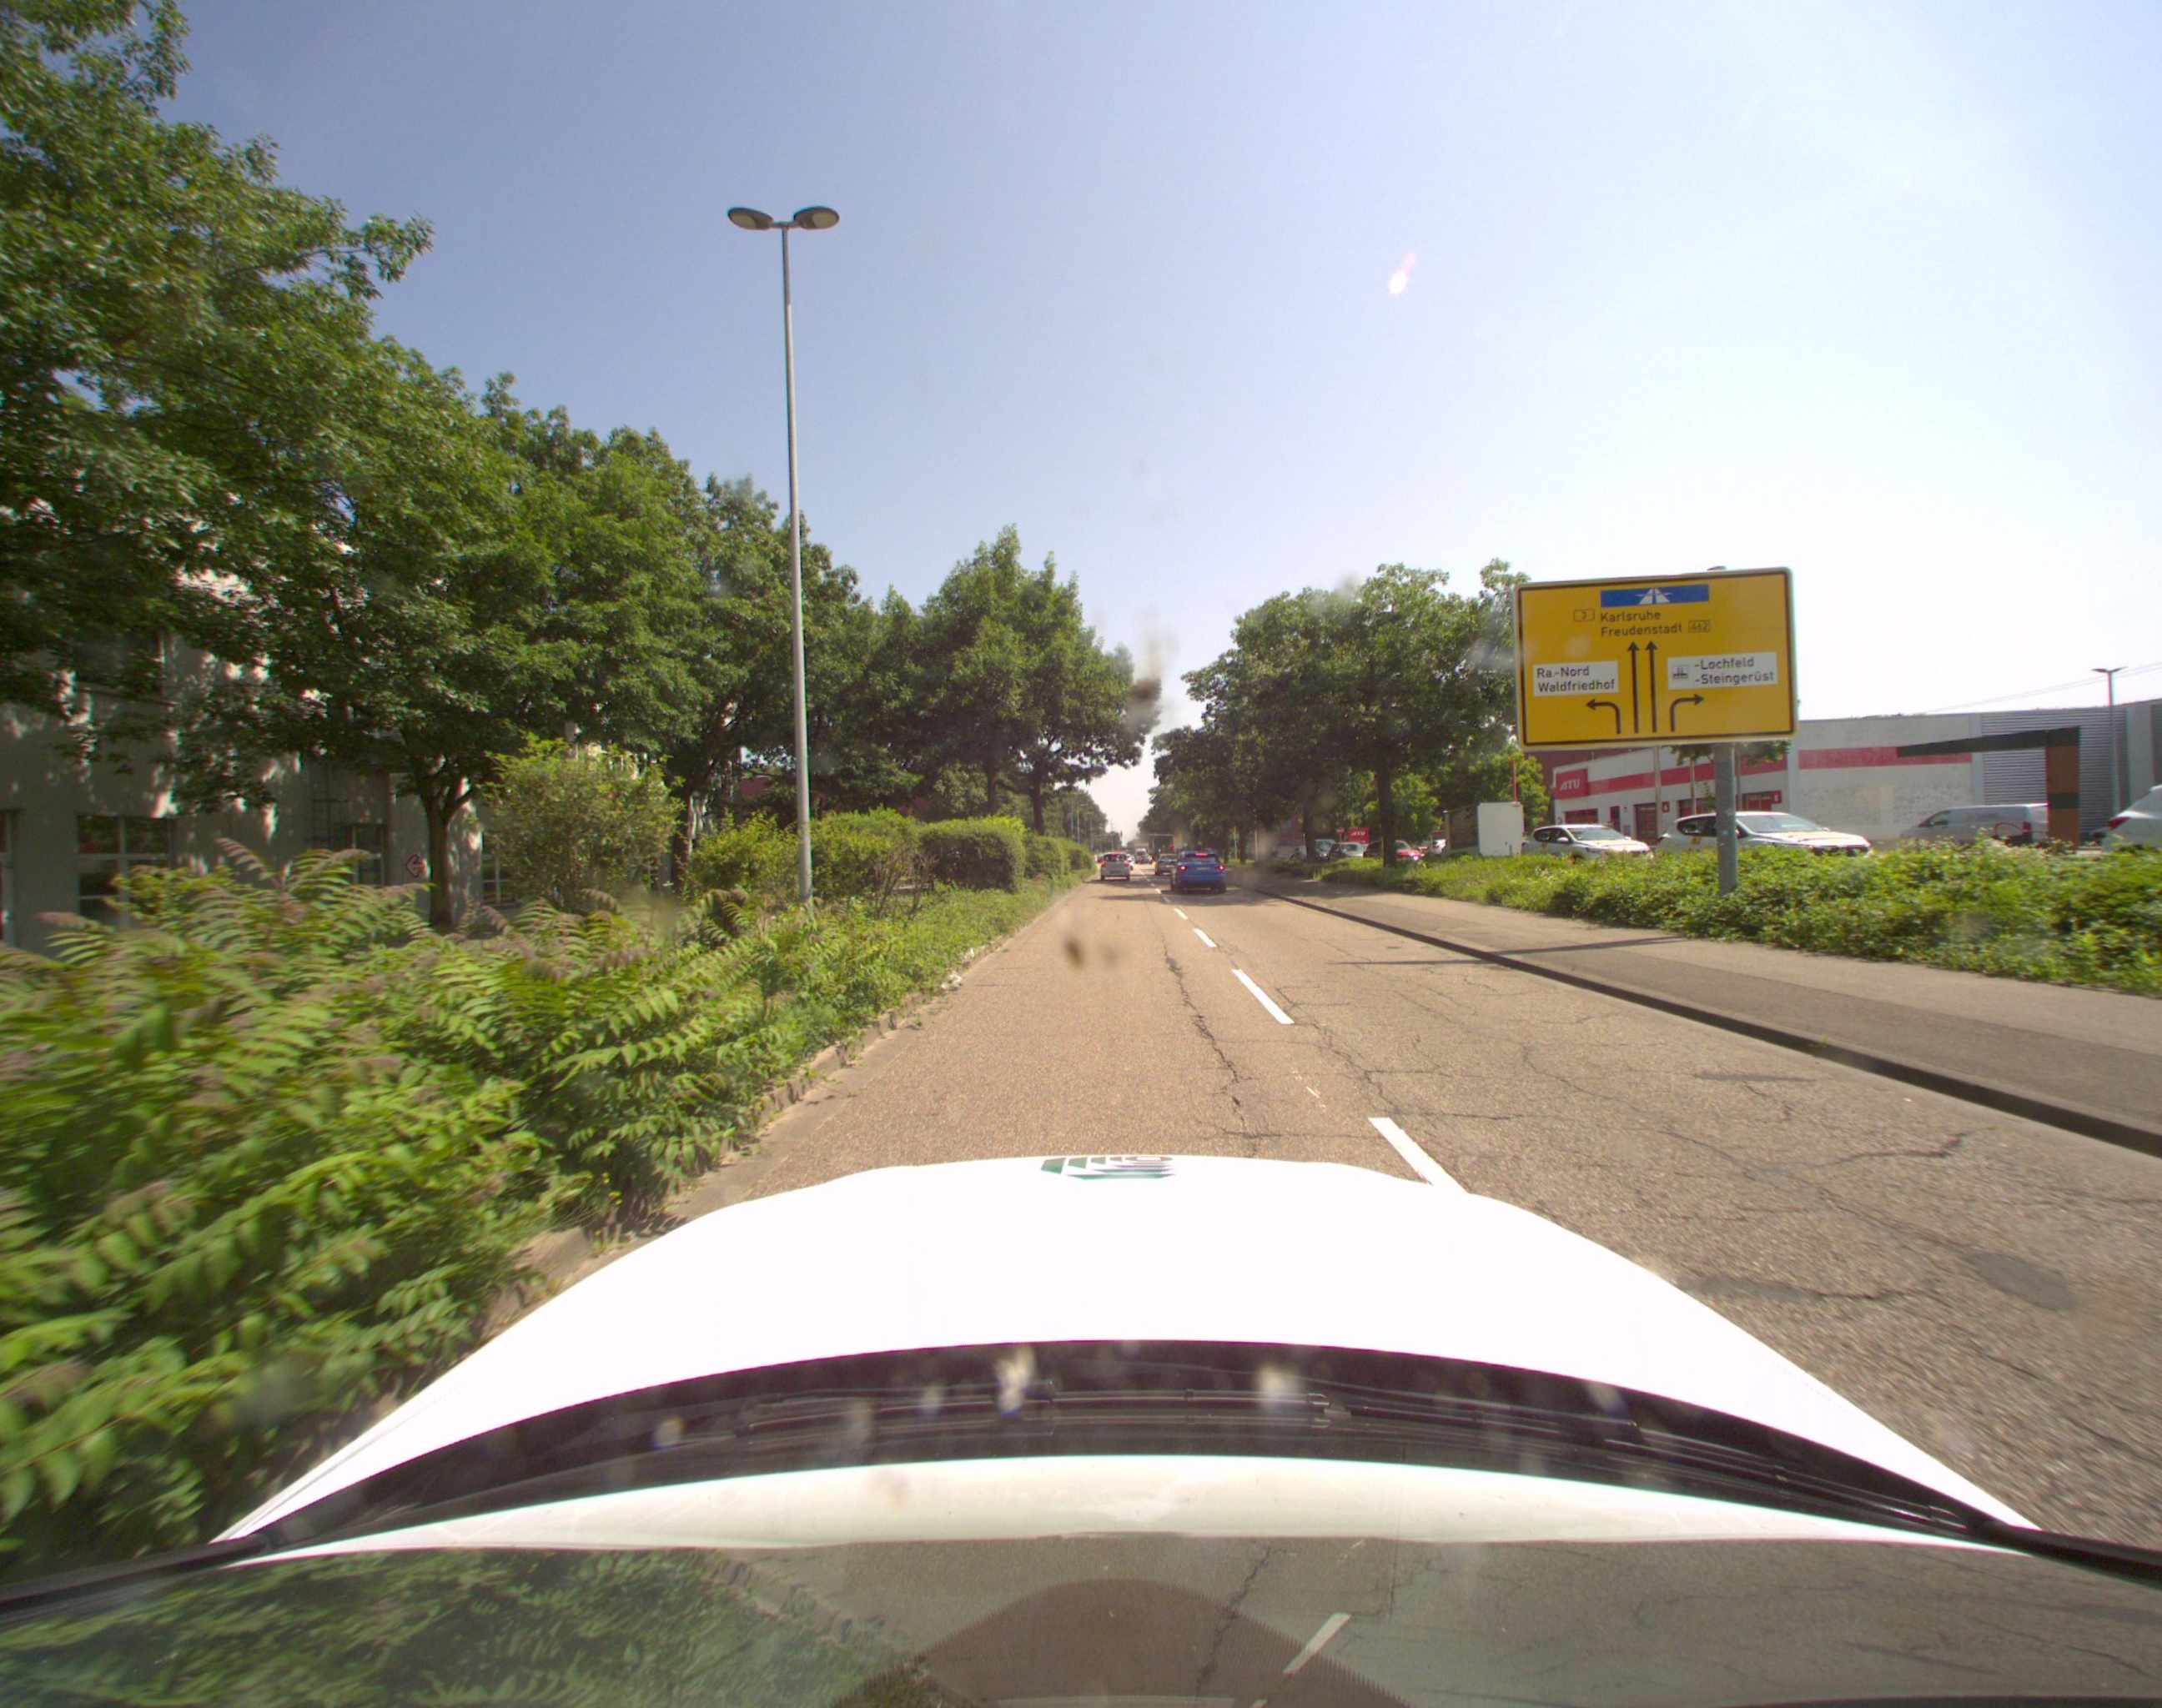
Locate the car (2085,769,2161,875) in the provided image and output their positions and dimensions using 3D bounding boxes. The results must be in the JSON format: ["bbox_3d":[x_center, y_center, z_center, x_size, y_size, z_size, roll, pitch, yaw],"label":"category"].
[{"bbox_3d":[13.465,-0.410,8.428,1.611,1.253,3.873,-1,-1,6],"label":"car"}]

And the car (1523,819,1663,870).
[{"bbox_3d":[13.881,-0.218,22.332,1.613,1.253,3.631,-1,-1,2],"label":"car"}]

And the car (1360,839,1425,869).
[{"bbox_3d":[15.190,0.001,39.968,1.694,1.380,4.326,-2,0,2],"label":"car"}]

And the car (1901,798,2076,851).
[{"bbox_3d":[34.891,-1.070,31.530,1.703,1.805,4.634,-2,0,3],"label":"car"}]

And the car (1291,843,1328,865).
[{"bbox_3d":[15.995,0.032,57.229,1.692,1.424,4.662,-2,-1,6],"label":"car"}]

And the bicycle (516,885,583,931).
[{"bbox_3d":[-13.880,1.389,21.314,0.519,1.119,1.763,-1,-1,3],"label":"bicycle"}]

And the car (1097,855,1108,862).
[{"bbox_3d":[4.299,0.895,160.986,1.985,1.288,4.003,-2,0,3],"label":"car"}]

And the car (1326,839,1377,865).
[{"bbox_3d":[15.226,-0.098,45.984,1.694,1.380,3.908,-2,0,2],"label":"car"}]

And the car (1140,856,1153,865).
[{"bbox_3d":[10.509,0.962,130.028,1.858,1.310,4.002,-3,0,2],"label":"car"}]

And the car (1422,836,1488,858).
[{"bbox_3d":[27.539,-0.515,60.044,3.972,1.442,1.943,-2,0,1],"label":"car"}]

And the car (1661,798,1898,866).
[{"bbox_3d":[13.535,-0.360,16.101,1.587,1.158,3.740,-1,-1,3],"label":"car"}]

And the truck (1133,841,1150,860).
[{"bbox_3d":[11.514,-0.681,155.990,2.920,3.502,9.165,-2,0,3],"label":"truck"}]

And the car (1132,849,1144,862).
[{"bbox_3d":[10.166,0.254,144.828,1.985,2.255,4.003,-2,0,3],"label":"car"}]

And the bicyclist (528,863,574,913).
[{"bbox_3d":[-13.877,0.881,21.354,0.641,1.253,0.813,-1,-1,2],"label":"bicyclist"}]

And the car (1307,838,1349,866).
[{"bbox_3d":[15.553,-0.106,51.499,1.693,1.637,3.910,-2,-1,4],"label":"car"}]

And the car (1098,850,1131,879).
[{"bbox_3d":[1.808,0.581,45.061,1.634,1.552,3.323,-1,-1,-1],"label":"car"}]

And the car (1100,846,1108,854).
[{"bbox_3d":[5.992,-1.144,215.918,1.987,2.013,3.999,-2,0,0],"label":"car"}]

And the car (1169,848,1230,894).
[{"bbox_3d":[4.475,0.641,31.332,1.802,1.593,4.351,-1,-1,2],"label":"car"}]

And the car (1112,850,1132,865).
[{"bbox_3d":[4.366,0.354,86.742,1.789,1.523,3.998,-1,-1,-1],"label":"car"}]

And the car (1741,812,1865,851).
[{"bbox_3d":[27.916,-0.837,31.649,1.576,1.339,3.780,-2,0,3],"label":"car"}]

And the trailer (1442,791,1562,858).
[{"bbox_3d":[14.367,-0.920,28.185,1.692,2.055,5.492,-2,0,5],"label":"trailer"}]

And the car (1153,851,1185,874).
[{"bbox_3d":[5.856,0.569,54.698,1.858,1.473,4.002,-1,-1,3],"label":"car"}]

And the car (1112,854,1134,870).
[{"bbox_3d":[3.804,0.691,72.747,1.877,1.354,4.003,-1,-1,3],"label":"car"}]
